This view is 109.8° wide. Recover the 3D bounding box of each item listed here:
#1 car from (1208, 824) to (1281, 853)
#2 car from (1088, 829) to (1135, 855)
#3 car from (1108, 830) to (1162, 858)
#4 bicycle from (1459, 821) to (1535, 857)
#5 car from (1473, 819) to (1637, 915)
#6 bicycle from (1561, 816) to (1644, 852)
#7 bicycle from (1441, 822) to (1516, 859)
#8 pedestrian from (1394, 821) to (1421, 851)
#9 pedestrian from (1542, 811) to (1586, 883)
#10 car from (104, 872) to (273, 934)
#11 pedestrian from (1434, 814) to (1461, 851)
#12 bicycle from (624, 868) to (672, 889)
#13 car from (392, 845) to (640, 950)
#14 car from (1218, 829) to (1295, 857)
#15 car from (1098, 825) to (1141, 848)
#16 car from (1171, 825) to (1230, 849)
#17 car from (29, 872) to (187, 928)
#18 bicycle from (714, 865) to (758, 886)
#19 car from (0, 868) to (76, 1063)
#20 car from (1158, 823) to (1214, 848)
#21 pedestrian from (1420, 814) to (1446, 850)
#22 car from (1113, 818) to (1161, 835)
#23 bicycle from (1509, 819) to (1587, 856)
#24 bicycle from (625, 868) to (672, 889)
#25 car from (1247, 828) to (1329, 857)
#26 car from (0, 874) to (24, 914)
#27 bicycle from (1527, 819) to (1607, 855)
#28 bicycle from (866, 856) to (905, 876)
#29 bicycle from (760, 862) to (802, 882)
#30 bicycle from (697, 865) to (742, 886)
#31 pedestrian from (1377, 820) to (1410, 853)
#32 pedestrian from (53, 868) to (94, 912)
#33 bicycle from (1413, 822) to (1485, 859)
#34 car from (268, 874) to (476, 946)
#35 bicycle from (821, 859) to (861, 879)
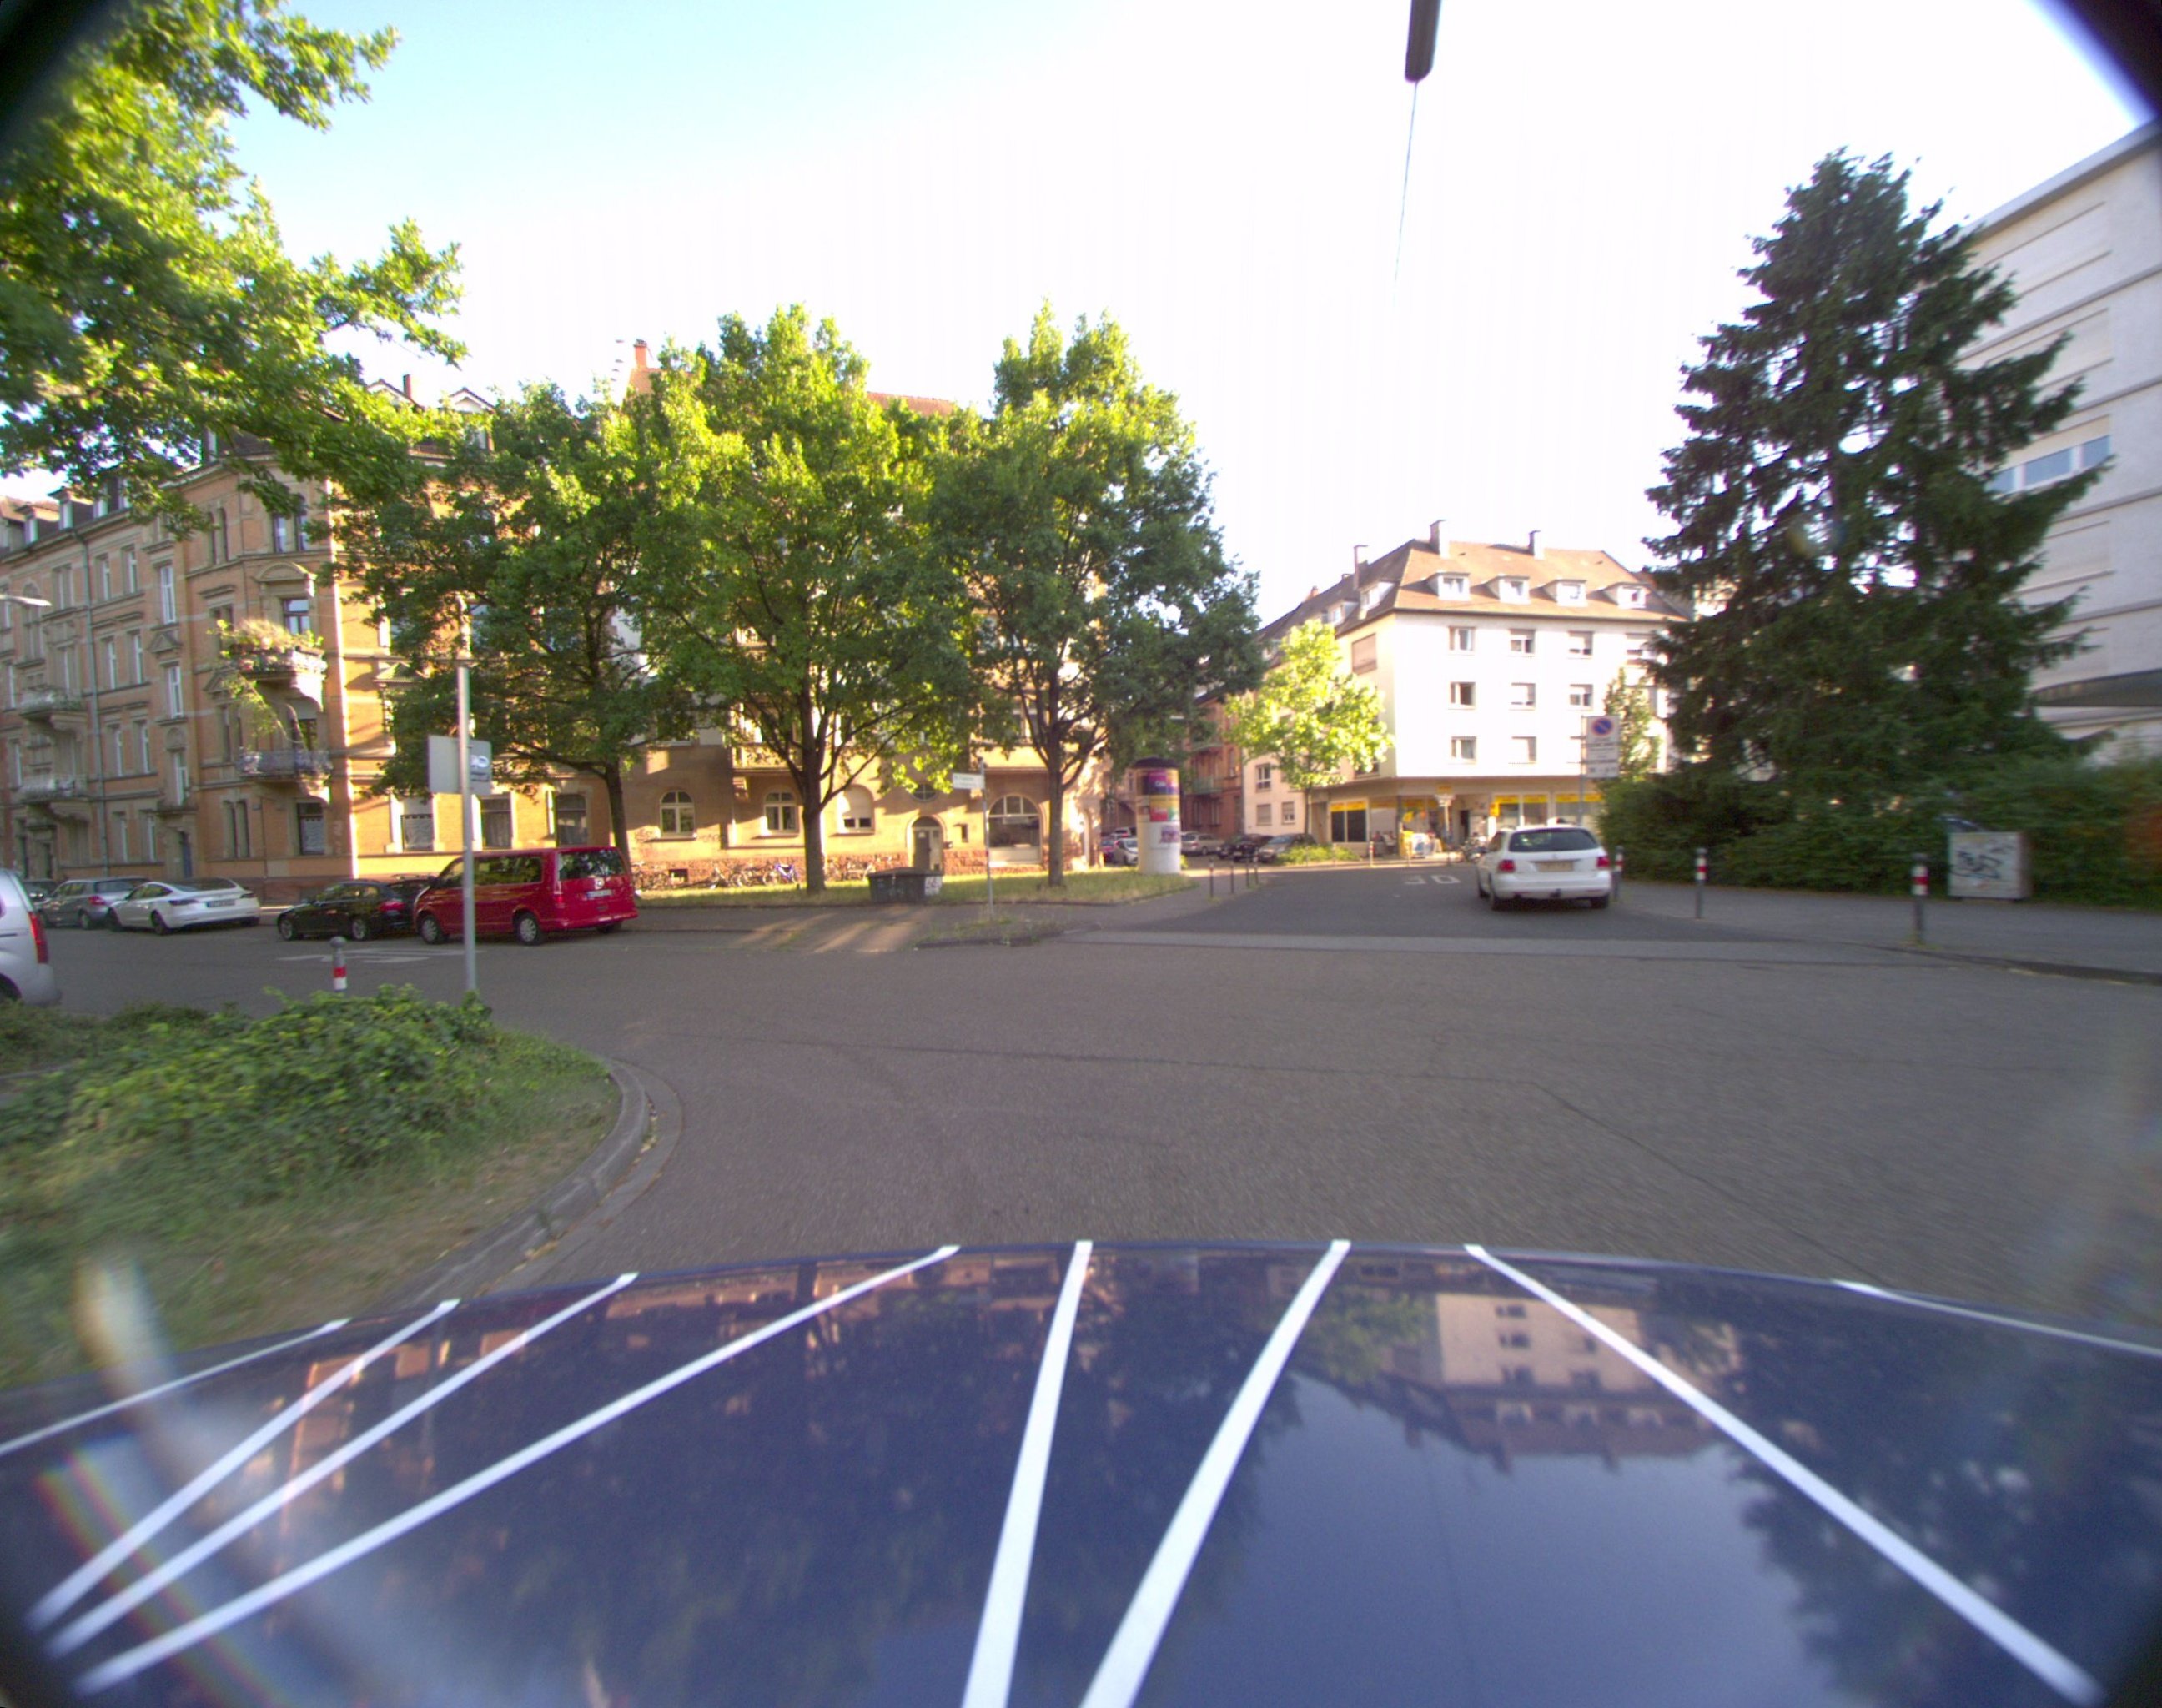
[{"bbox_3d":[9.902,-0.940,46.021,4.005,1.560,1.869,-3,2,-28],"label":"car"},{"bbox_3d":[1.775,-0.741,45.799,1.874,1.392,3.995,-2,2,-12],"label":"car"},{"bbox_3d":[2.858,-0.552,41.120,1.874,1.392,3.995,-2,2,-12],"label":"car"},{"bbox_3d":[17.585,-0.663,32.260,0.881,1.437,3.375,-2,3,-10],"label":"bicycle"},{"bbox_3d":[8.418,0.149,13.894,1.919,1.442,4.301,-2,1,24],"label":"car"},{"bbox_3d":[23.103,-0.923,33.773,0.881,1.438,3.374,-2,4,-10],"label":"bicycle"},{"bbox_3d":[16.563,-0.617,31.823,0.881,1.437,3.375,-2,3,-10],"label":"bicycle"},{"bbox_3d":[17.346,-0.955,40.381,0.964,1.560,0.890,-2,2,-12],"label":"pedestrian"},{"bbox_3d":[13.776,-0.198,21.690,0.861,2.002,0.987,-1,2,21],"label":"pedestrian"},{"bbox_3d":[-25.223,1.355,21.480,4.260,1.467,1.783,-1,4,23],"label":"car"},{"bbox_3d":[18.942,-1.130,39.284,0.891,1.864,0.851,-2,2,-13],"label":"pedestrian"},{"bbox_3d":[-16.593,0.935,29.160,1.511,0.728,0.414,-2,2,-15],"label":"bicycle"},{"bbox_3d":[-12.046,0.892,16.221,4.762,1.923,1.783,-2,4,20],"label":"car"},{"bbox_3d":[9.885,-0.627,42.710,4.006,1.392,1.869,-3,2,-30],"label":"car"},{"bbox_3d":[2.877,-1.322,57.749,1.944,1.638,4.526,-2,2,-15],"label":"car"},{"bbox_3d":[8.172,-1.173,51.791,4.007,1.497,1.868,-3,2,-42],"label":"car"},{"bbox_3d":[-29.835,1.406,23.315,3.873,1.468,1.690,-2,4,19],"label":"car"},{"bbox_3d":[-13.520,0.833,29.811,1.511,0.728,0.368,-2,2,-15],"label":"bicycle"},{"bbox_3d":[-12.331,1.189,6.201,1.945,1.904,4.559,0,2,23],"label":"car"},{"bbox_3d":[7.628,-1.363,54.938,4.007,1.627,1.868,-3,2,-42],"label":"car"},{"bbox_3d":[18.615,-1.172,40.188,0.891,1.864,0.851,-2,2,-13],"label":"pedestrian"},{"bbox_3d":[4.858,-2.380,66.036,4.007,1.392,1.868,-3,2,-42],"label":"car"},{"bbox_3d":[20.330,-0.760,33.229,0.881,1.438,3.374,-2,4,-10],"label":"bicycle"},{"bbox_3d":[-16.789,0.950,29.532,1.511,0.728,0.368,-2,2,-15],"label":"bicycle"},{"bbox_3d":[11.053,-0.610,40.531,4.006,1.392,1.869,-3,2,-30],"label":"car"},{"bbox_3d":[-40.427,1.517,27.300,4.280,1.376,1.770,-1,4,22],"label":"car"},{"bbox_3d":[21.242,-0.791,33.373,0.881,1.438,3.374,-2,4,-10],"label":"bicycle"},{"bbox_3d":[-8.156,0.508,31.692,1.511,0.728,0.368,-4,3,-15],"label":"bicycle"},{"bbox_3d":[-12.049,0.710,30.586,1.511,0.728,0.368,-2,2,-15],"label":"bicycle"},{"bbox_3d":[-14.273,0.854,30.015,1.511,0.728,0.368,-2,2,-15],"label":"bicycle"},{"bbox_3d":[16.289,-0.909,39.610,1.215,1.657,0.962,-2,2,-12],"label":"pedestrian"},{"bbox_3d":[-40.812,1.464,30.785,0.720,1.709,0.676,-1,4,22],"label":"pedestrian"},{"bbox_3d":[15.233,-0.601,31.623,0.881,1.437,3.375,-2,3,-10],"label":"bicycle"},{"bbox_3d":[-17.056,1.316,18.301,4.261,1.426,1.783,-2,4,20],"label":"car"},{"bbox_3d":[-9.895,0.618,31.364,1.511,0.728,0.368,-2,2,-15],"label":"bicycle"}]
